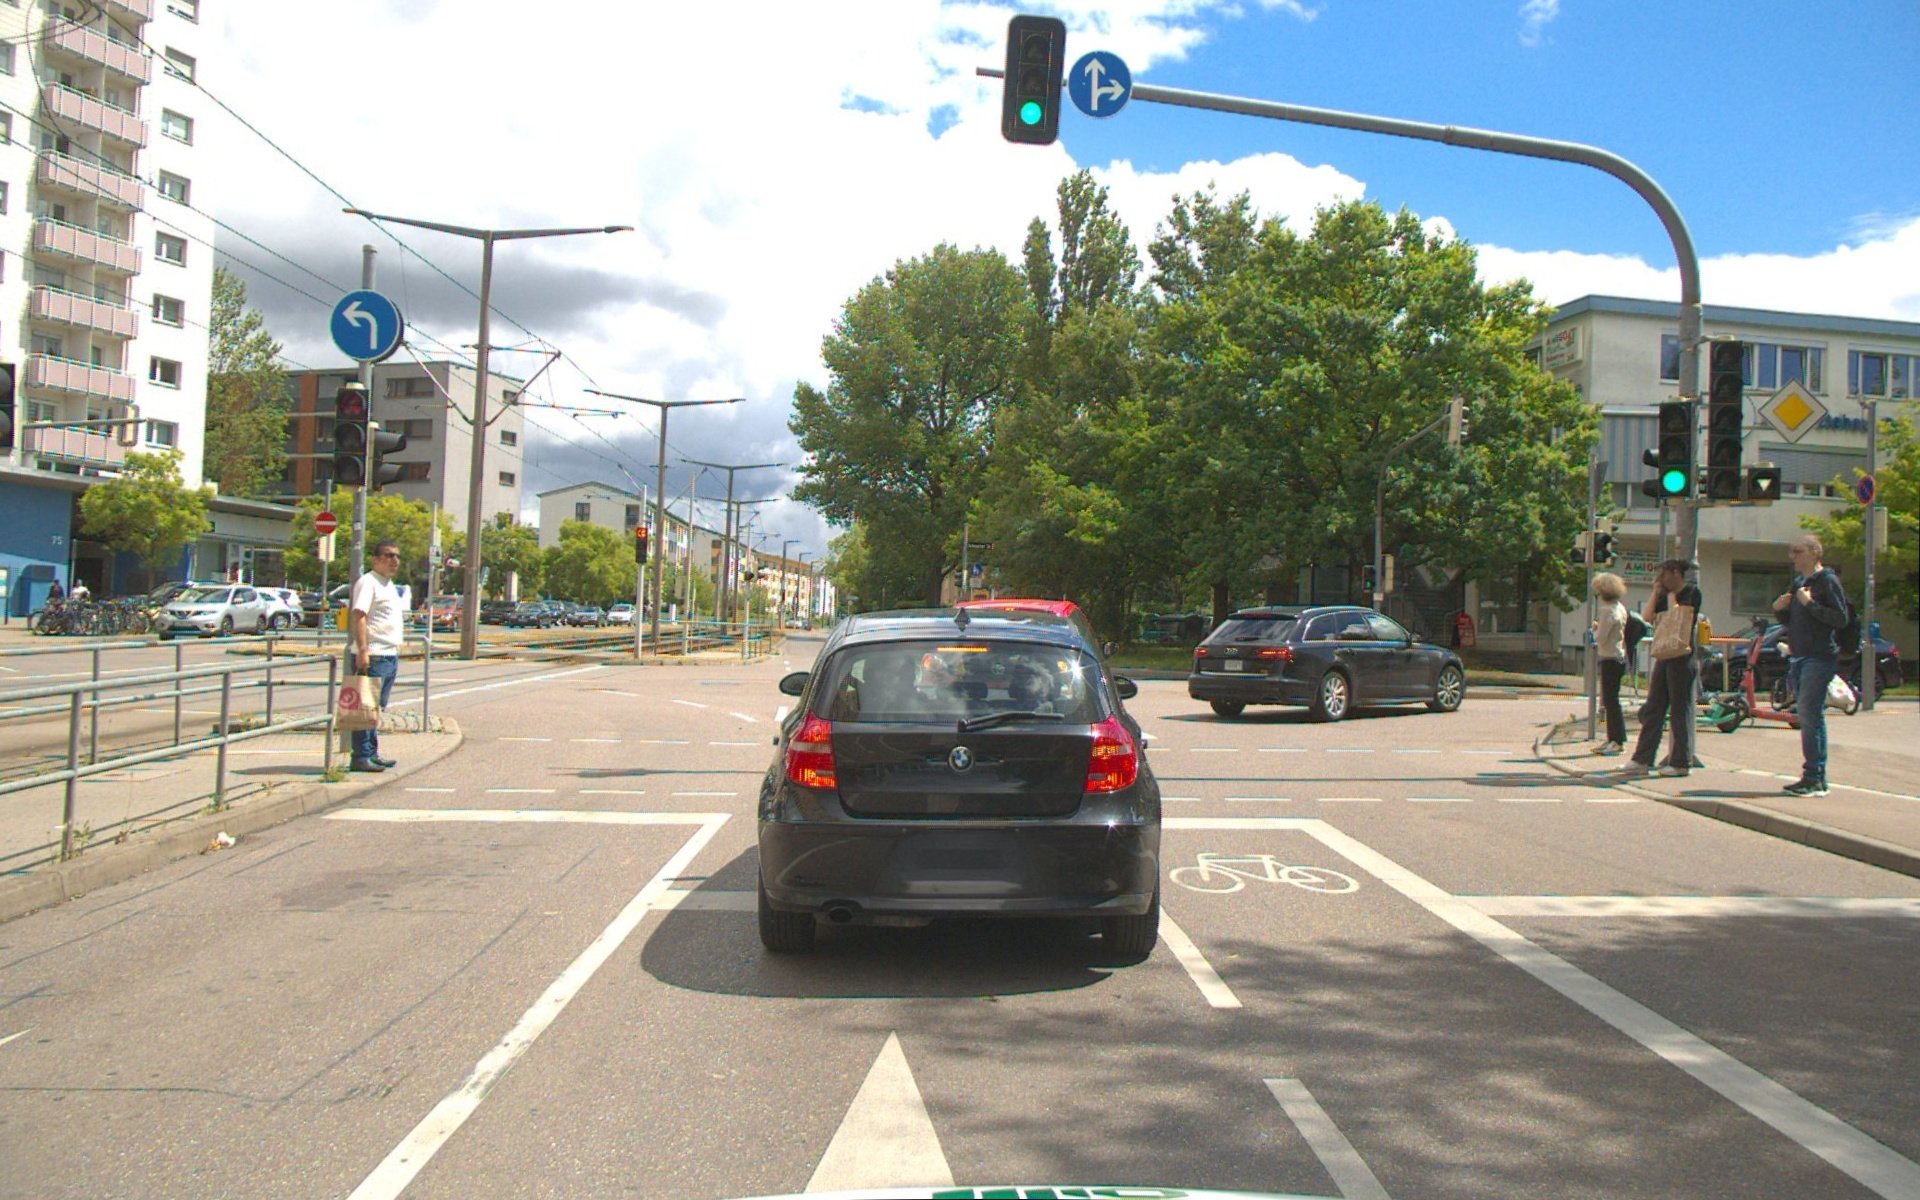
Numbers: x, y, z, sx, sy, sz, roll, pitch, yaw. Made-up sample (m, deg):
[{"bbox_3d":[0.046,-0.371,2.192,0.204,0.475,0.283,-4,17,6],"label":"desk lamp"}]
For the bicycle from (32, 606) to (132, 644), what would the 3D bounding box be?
[{"bbox_3d":[-25.584,0.737,48.240,2.528,1.026,0.749,2,-2,-29],"label":"bicycle"}]

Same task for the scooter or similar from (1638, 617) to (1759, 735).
[{"bbox_3d":[8.124,0.827,18.218,1.086,1.256,0.540,1,0,2],"label":"scooter or similar"}]

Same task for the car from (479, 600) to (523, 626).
[{"bbox_3d":[-26.948,0.749,97.135,1.559,1.500,3.774,1,0,-1],"label":"car"}]

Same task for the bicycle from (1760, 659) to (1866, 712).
[{"bbox_3d":[11.639,1.156,22.613,0.522,0.620,1.589,1,0,-5],"label":"bicycle"}]

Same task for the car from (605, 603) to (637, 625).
[{"bbox_3d":[-24.935,1.027,121.772,1.618,1.561,3.870,1,0,-2],"label":"car"}]

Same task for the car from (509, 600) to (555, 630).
[{"bbox_3d":[-23.839,0.827,92.218,1.618,1.561,3.870,1,0,-2],"label":"car"}]

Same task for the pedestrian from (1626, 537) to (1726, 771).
[{"bbox_3d":[5.977,0.436,13.829,0.622,1.909,0.518,1,0,6],"label":"pedestrian"}]

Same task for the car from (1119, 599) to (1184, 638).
[{"bbox_3d":[8.748,0.829,75.869,1.830,1.691,3.989,1,0,-11],"label":"car"}]

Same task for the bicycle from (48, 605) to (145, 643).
[{"bbox_3d":[-25.744,0.724,49.340,2.528,1.026,0.749,2,-2,-29],"label":"bicycle"}]

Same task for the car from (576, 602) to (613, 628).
[{"bbox_3d":[-23.639,0.955,107.193,1.618,1.561,3.870,1,0,-2],"label":"car"}]

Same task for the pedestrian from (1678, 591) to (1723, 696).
[{"bbox_3d":[12.515,0.723,27.967,0.644,1.743,0.461,1,0,26],"label":"pedestrian"}]

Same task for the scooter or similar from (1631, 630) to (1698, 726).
[{"bbox_3d":[8.516,0.922,20.020,0.536,1.082,1.263,1,0,13],"label":"scooter or similar"}]

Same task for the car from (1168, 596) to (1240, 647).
[{"bbox_3d":[9.575,0.806,65.141,1.694,1.904,3.992,1,0,-9],"label":"car"}]

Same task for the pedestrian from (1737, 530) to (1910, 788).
[{"bbox_3d":[6.649,0.434,12.781,0.779,1.909,1.013,1,0,-1],"label":"pedestrian"}]

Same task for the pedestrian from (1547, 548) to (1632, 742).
[{"bbox_3d":[5.949,0.417,15.648,0.622,1.797,0.518,1,0,6],"label":"pedestrian"}]

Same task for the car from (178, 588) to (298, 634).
[{"bbox_3d":[-27.443,0.393,62.935,1.629,1.676,3.897,1,0,44],"label":"car"}]

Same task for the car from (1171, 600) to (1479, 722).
[{"bbox_3d":[5.005,0.746,22.313,4.503,1.447,1.876,0,1,-44],"label":"car"}]

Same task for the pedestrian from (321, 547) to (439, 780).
[{"bbox_3d":[-4.509,0.480,12.902,0.673,1.764,0.687,0,0,-1],"label":"pedestrian"}]

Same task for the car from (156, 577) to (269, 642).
[{"bbox_3d":[-21.538,0.257,47.797,1.559,1.787,3.774,1,0,-1],"label":"car"}]

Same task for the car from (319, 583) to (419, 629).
[{"bbox_3d":[-26.531,0.266,74.298,3.892,2.009,1.631,0,0,-43],"label":"car"}]

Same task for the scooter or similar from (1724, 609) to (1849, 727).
[{"bbox_3d":[9.515,0.770,19.072,1.127,1.294,0.555,2,0,2],"label":"scooter or similar"}]

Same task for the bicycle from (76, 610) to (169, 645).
[{"bbox_3d":[-25.999,0.857,51.388,2.528,1.026,0.749,2,-2,-29],"label":"bicycle"}]

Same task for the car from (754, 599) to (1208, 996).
[{"bbox_3d":[0.073,0.735,7.841,1.665,1.424,3.420,1,0,0],"label":"car"}]

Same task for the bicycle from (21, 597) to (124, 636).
[{"bbox_3d":[-25.335,0.485,47.254,2.528,1.026,0.749,2,-2,-29],"label":"bicycle"}]

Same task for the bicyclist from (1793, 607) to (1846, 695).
[{"bbox_3d":[11.672,0.689,22.458,0.491,1.177,0.399,1,0,-5],"label":"bicyclist"}]

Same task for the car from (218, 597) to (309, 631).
[{"bbox_3d":[-27.847,0.564,66.181,3.075,1.303,1.449,1,0,-39],"label":"car"}]

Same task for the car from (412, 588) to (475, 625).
[{"bbox_3d":[-22.694,0.272,72.811,1.618,1.561,3.870,1,0,-2],"label":"car"}]

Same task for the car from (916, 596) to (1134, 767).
[{"bbox_3d":[0.728,0.688,15.887,1.603,1.424,3.423,1,0,10],"label":"car"}]

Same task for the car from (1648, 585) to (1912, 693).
[{"bbox_3d":[16.627,0.775,33.634,4.449,2.049,1.997,1,0,-8],"label":"car"}]
